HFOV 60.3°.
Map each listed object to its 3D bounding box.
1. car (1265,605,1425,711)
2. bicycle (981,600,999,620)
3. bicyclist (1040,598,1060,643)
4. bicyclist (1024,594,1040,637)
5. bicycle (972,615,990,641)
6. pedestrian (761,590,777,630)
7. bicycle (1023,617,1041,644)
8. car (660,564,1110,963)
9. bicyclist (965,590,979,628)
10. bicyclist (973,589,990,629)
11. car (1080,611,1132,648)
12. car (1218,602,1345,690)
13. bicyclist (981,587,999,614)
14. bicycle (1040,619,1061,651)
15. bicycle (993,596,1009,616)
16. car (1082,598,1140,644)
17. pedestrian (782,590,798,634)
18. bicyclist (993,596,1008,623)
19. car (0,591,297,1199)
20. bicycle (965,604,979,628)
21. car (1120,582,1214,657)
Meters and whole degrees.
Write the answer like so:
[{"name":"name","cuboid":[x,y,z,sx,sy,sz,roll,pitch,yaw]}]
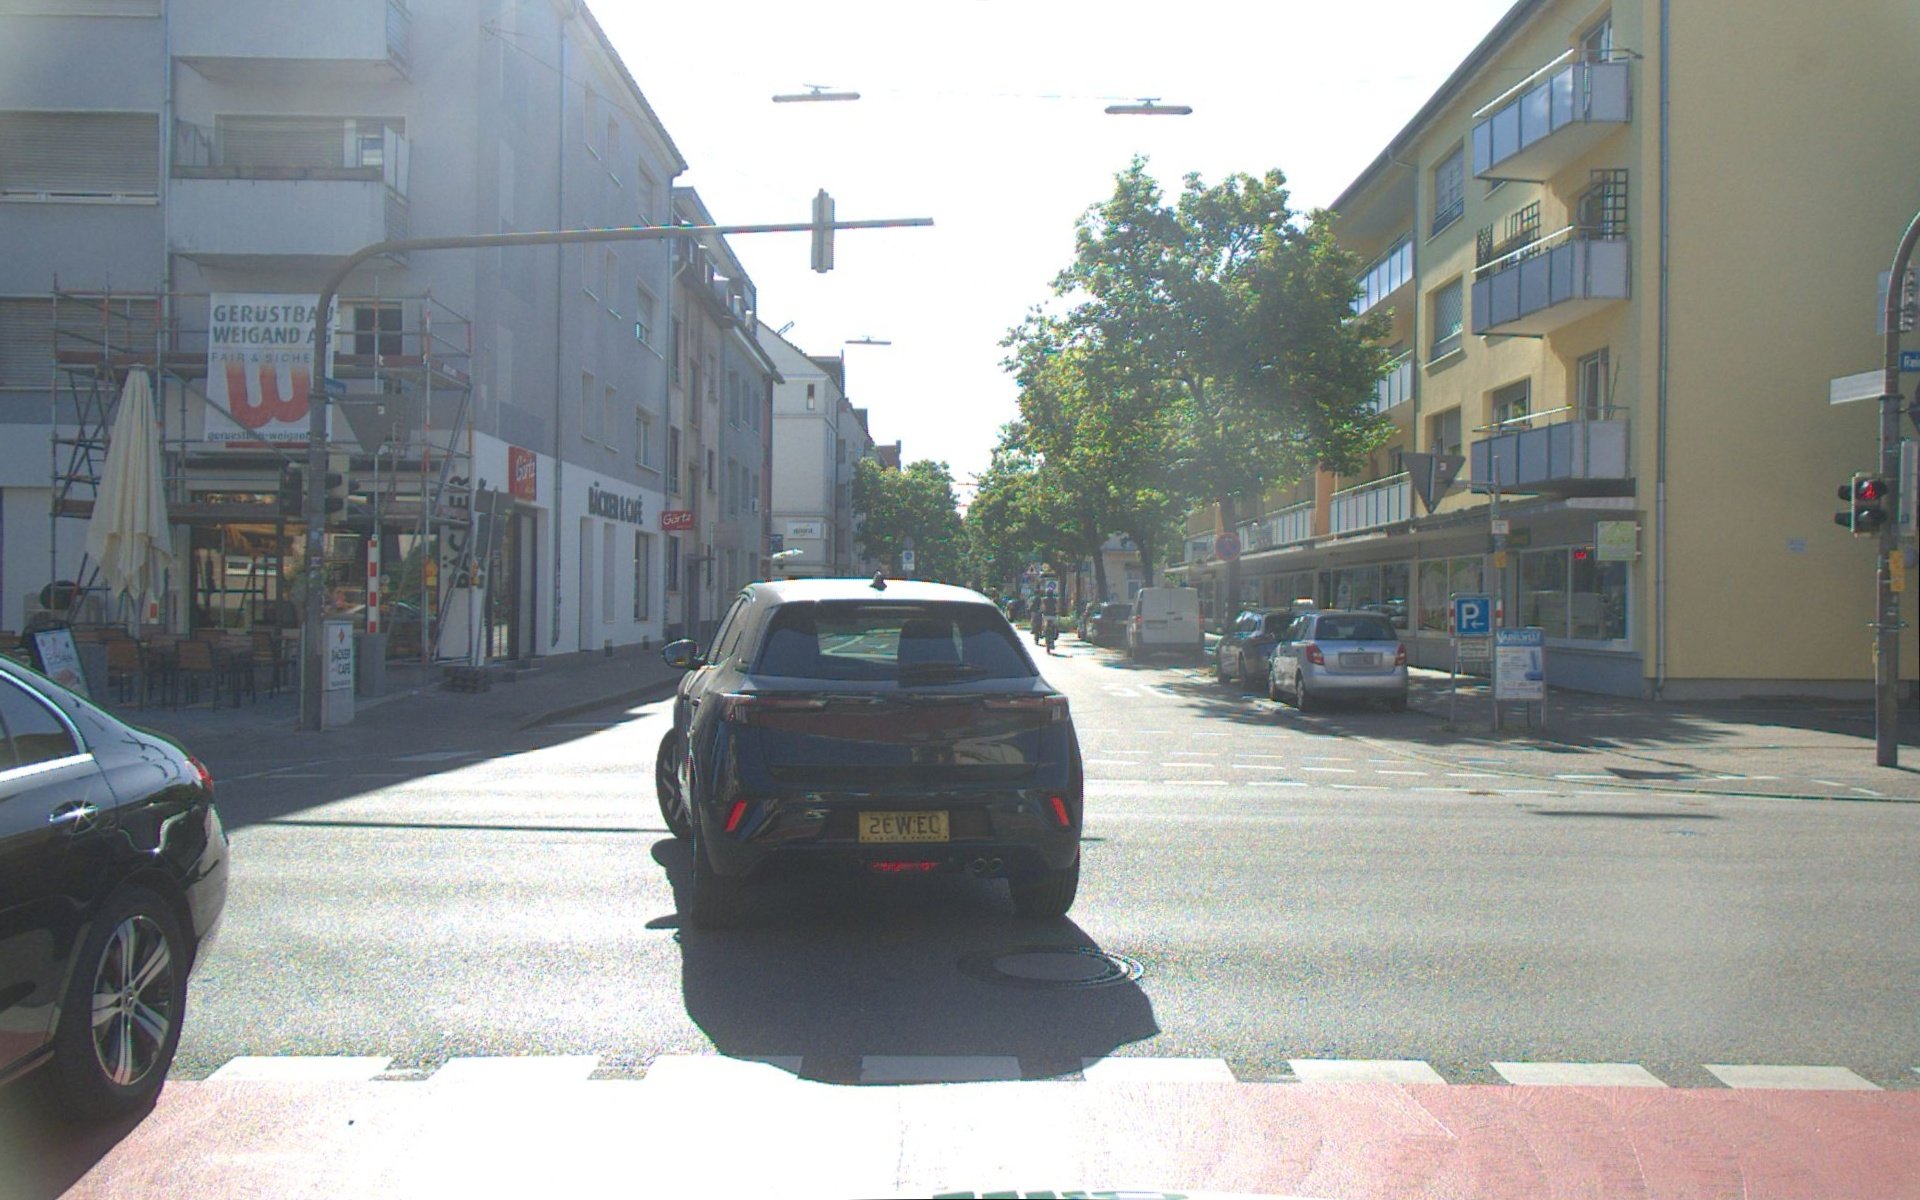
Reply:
[{"name":"car","cuboid":[5.924,0.843,25.814,1.677,1.509,3.480,0,0,0]},{"name":"bicycle","cuboid":[1.545,0.529,85.259,0.839,0.961,2.307,3,0,0]},{"name":"bicyclist","cuboid":[2.564,0.580,47.058,0.535,1.284,0.803,0,0,1]},{"name":"bicyclist","cuboid":[2.412,0.511,55.476,0.535,1.406,0.823,0,0,1]},{"name":"bicycle","cuboid":[0.754,0.970,58.039,0.607,0.881,1.876,0,0,1]},{"name":"pedestrian","cuboid":[-7.184,0.360,62.094,0.566,1.493,0.702,0,0,-6]},{"name":"bicycle","cuboid":[2.416,1.018,55.761,0.535,0.881,1.876,0,0,1]},{"name":"car","cuboid":[-0.633,0.661,8.716,1.731,1.586,3.988,1,0,-12]},{"name":"bicyclist","cuboid":[0.549,0.410,75.383,0.619,1.698,1.050,0,0,-1]},{"name":"bicyclist","cuboid":[0.756,0.303,58.093,0.576,1.406,0.823,0,0,1]},{"name":"car","cuboid":[5.497,1.103,62.570,1.677,1.337,3.381,0,0,0]},{"name":"car","cuboid":[5.874,0.811,30.561,1.677,1.509,3.381,0,0,0]},{"name":"bicyclist","cuboid":[1.566,0.032,85.284,0.839,1.337,1.210,3,0,-1]},{"name":"bicycle","cuboid":[2.565,0.989,47.091,0.535,0.881,1.876,0,0,1]},{"name":"bicycle","cuboid":[1.883,0.279,76.139,0.677,0.881,1.876,0,0,1]},{"name":"car","cuboid":[5.140,0.684,56.767,1.677,1.509,3.381,0,0,0]},{"name":"pedestrian","cuboid":[-6.347,0.438,61.744,0.566,1.610,0.707,0,0,-6]},{"name":"bicyclist","cuboid":[1.882,0.445,76.239,0.677,1.214,0.595,0,0,1]},{"name":"car","cuboid":[-3.150,0.717,3.392,1.768,1.437,4.426,-1,0,0]},{"name":"bicycle","cuboid":[0.557,0.721,75.532,0.619,1.059,1.795,0,0,0]},{"name":"car","cuboid":[5.490,0.495,44.306,2.004,1.879,4.584,0,0,1]}]
